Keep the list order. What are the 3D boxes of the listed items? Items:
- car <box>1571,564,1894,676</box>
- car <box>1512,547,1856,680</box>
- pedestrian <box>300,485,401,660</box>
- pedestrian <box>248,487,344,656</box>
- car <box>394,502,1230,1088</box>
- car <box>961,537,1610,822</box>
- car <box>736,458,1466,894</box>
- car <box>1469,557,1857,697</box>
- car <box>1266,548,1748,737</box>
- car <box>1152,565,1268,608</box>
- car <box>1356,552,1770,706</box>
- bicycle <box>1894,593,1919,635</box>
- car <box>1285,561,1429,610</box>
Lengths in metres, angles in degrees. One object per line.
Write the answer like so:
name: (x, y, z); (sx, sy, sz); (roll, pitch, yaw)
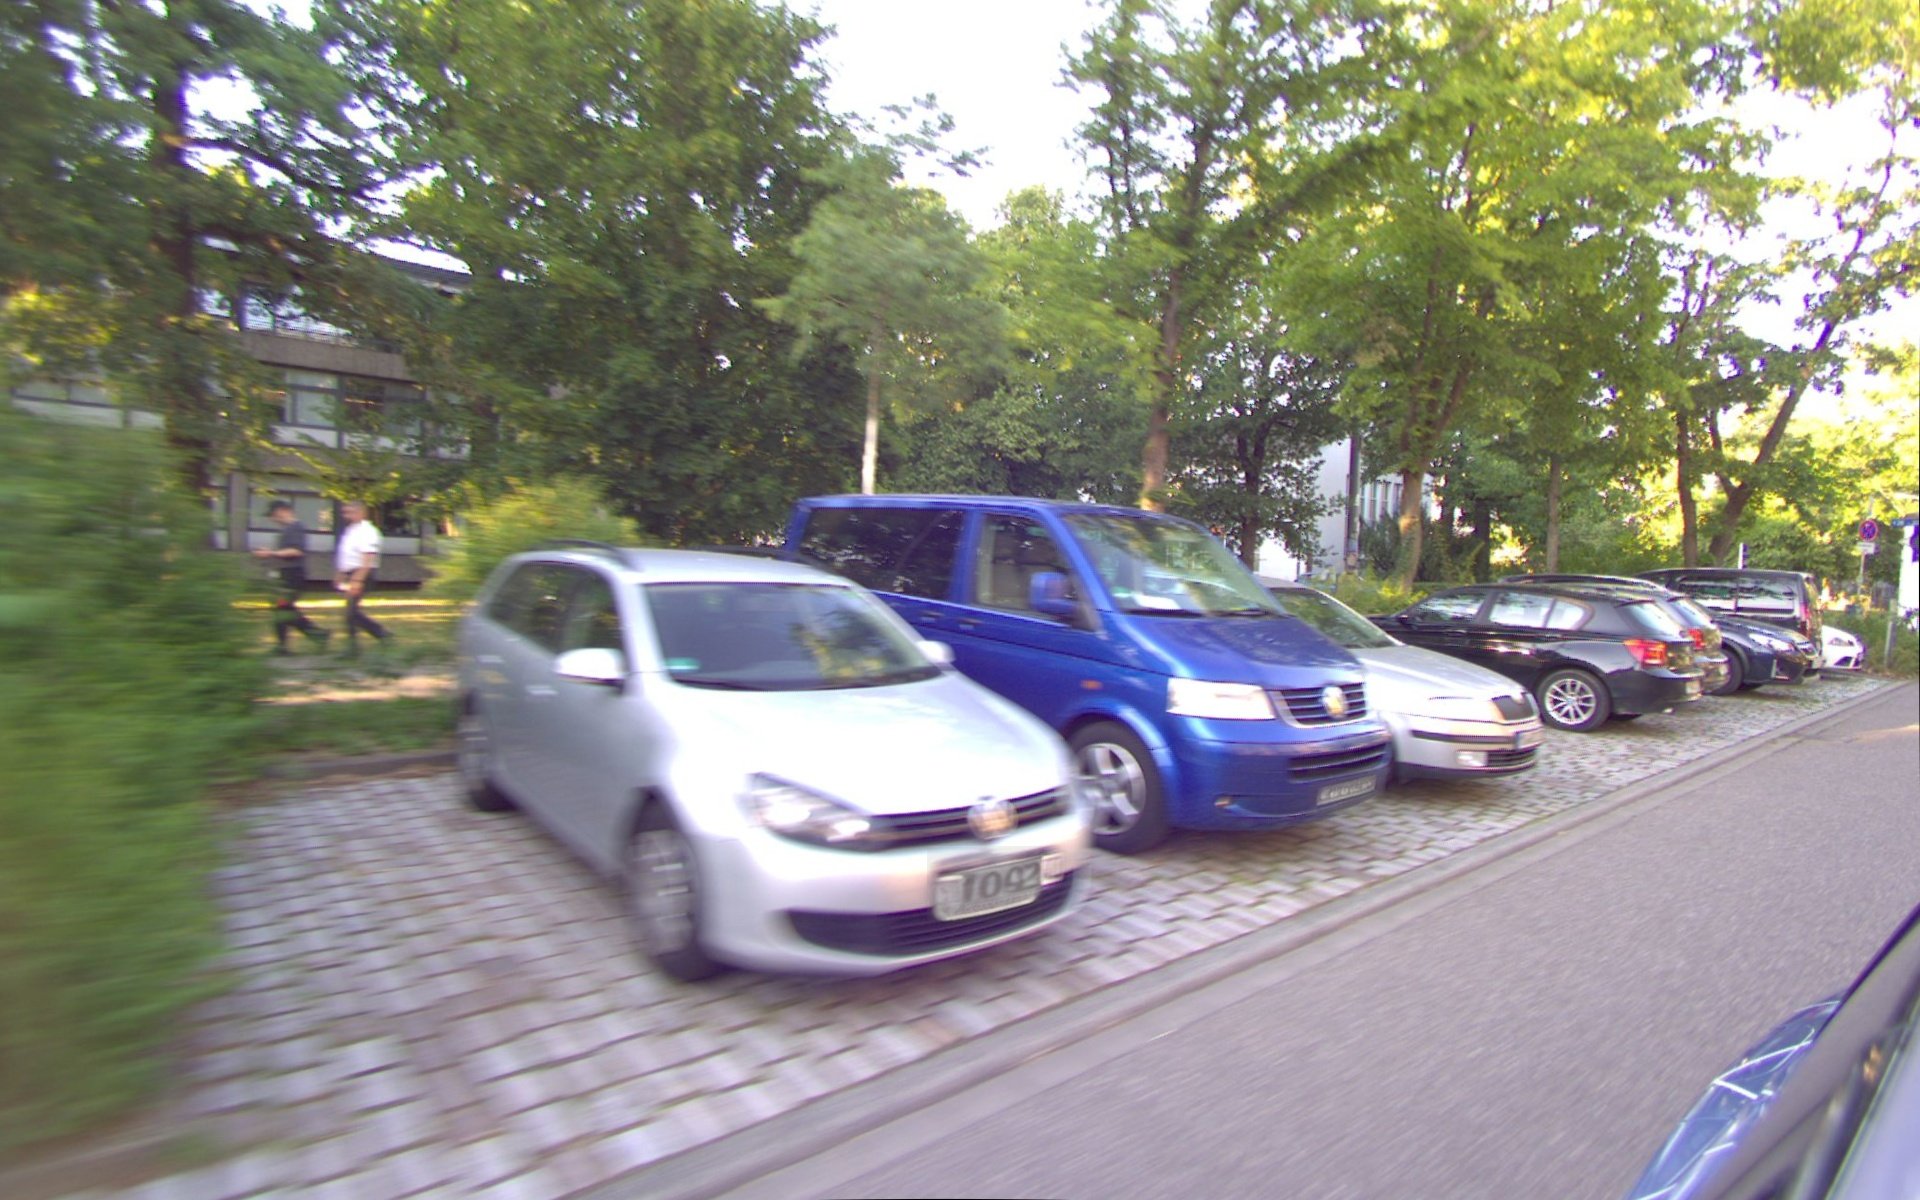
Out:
car: (13.957, 0.261, 18.523); (1.697, 1.572, 4.373); (0, 5, -41)
car: (12.148, 0.116, 17.242); (1.887, 1.802, 4.373); (0, 5, -41)
pedestrian: (-6.547, -0.291, 10.879); (0.664, 1.794, 0.773); (2, 1, 45)
pedestrian: (-7.352, -0.317, 11.210); (0.647, 1.794, 0.777); (2, 2, 45)
car: (-1.291, 0.350, 5.217); (1.883, 1.572, 4.938); (0, 5, -41)
car: (2.349, 0.362, 8.579); (1.883, 1.572, 4.938); (0, 5, -41)
car: (0.510, 0.149, 6.939); (1.883, 1.938, 4.864); (0, 5, -41)
car: (10.279, 0.269, 15.095); (1.843, 1.572, 4.373); (0, 5, -41)
car: (5.964, 0.300, 11.497); (1.887, 1.555, 4.373); (0, 5, -41)
car: (9.420, -0.543, 38.359); (1.706, 1.495, 3.996); (0, 3, -40)
car: (7.921, 0.246, 13.651); (1.887, 1.555, 4.373); (0, 5, -41)
bicycle: (28.278, 0.441, 29.500); (2.237, 1.161, 0.495); (2, 4, -21)
car: (13.266, -0.529, 33.982); (1.803, 1.460, 4.148); (0, 3, -40)
